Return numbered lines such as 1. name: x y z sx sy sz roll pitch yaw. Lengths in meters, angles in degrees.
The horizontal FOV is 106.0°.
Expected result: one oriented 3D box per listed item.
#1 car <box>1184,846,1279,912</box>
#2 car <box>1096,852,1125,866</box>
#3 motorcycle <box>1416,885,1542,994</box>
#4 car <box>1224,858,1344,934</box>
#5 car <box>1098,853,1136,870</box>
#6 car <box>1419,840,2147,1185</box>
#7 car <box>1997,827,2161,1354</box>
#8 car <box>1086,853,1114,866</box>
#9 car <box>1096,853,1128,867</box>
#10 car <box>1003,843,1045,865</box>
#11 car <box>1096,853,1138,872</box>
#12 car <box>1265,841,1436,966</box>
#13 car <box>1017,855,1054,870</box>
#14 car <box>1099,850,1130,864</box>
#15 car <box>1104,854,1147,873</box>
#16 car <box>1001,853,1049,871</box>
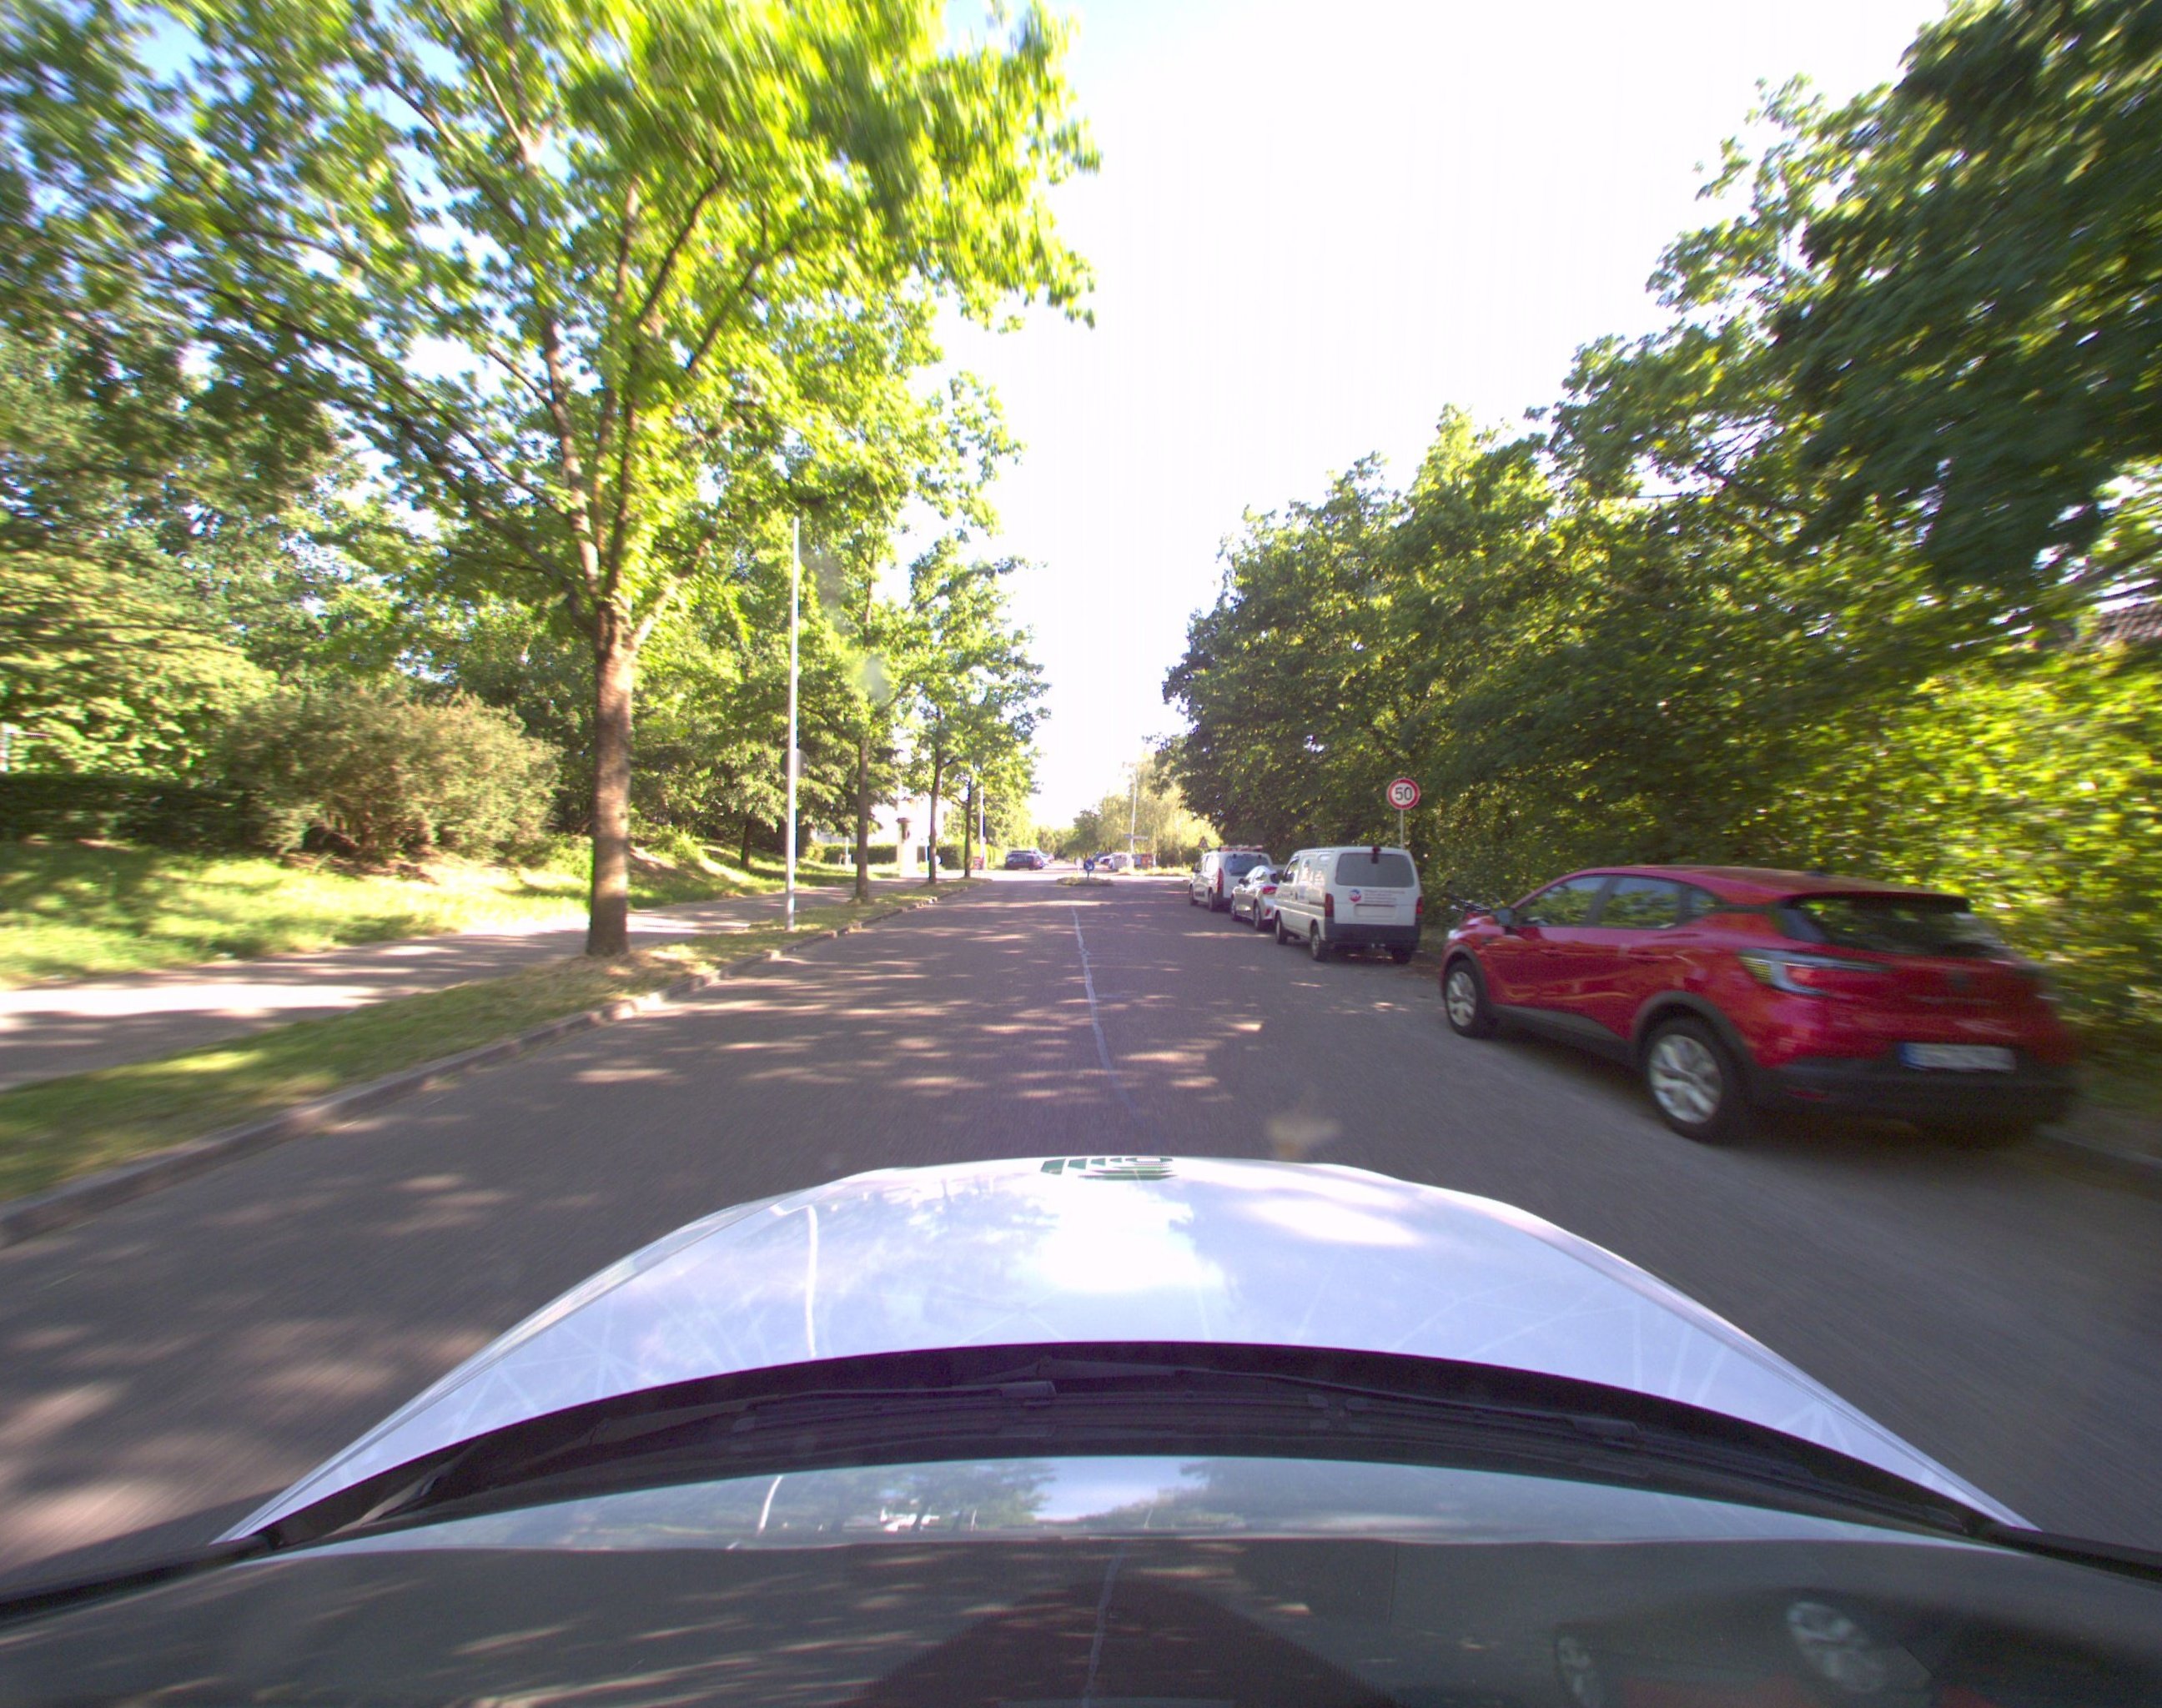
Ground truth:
1. car: 4.509 0.713 25.108 1.787 1.785 4.551 2 0 -4
2. car: 4.005 0.667 109.253 3.821 1.796 1.690 2 0 4
3. motorcycle: 5.051 1.034 10.500 0.645 1.196 2.035 2 -1 1
4. car: 4.571 0.878 18.962 1.686 1.512 4.205 2 0 0
5. car: 3.744 0.754 85.115 3.819 1.576 1.691 2 0 6
6. car: 4.282 0.782 5.995 1.771 1.621 4.061 2 0 -2
7. car: 4.277 0.758 0.959 1.771 1.621 4.061 2 0 -2
8. car: 2.681 0.768 114.164 3.821 1.796 1.690 2 0 4
9. car: 3.802 0.692 99.919 3.819 1.576 1.691 2 0 6
10. car: -7.302 0.042 104.061 5.192 2.621 2.289 2 0 -6
11. car: 3.410 0.811 77.304 3.819 1.576 1.691 2 0 6
12. car: 4.366 0.732 13.781 1.618 1.773 3.668 2 0 0
13. car: -5.315 0.954 95.145 4.092 1.576 1.959 2 0 1
14. car: 4.205 0.422 103.058 3.821 1.576 1.690 2 0 4
15. car: 4.084 0.874 74.492 3.819 1.576 1.691 2 0 6
16. car: -5.388 0.796 78.843 4.296 1.576 2.049 2 0 6
